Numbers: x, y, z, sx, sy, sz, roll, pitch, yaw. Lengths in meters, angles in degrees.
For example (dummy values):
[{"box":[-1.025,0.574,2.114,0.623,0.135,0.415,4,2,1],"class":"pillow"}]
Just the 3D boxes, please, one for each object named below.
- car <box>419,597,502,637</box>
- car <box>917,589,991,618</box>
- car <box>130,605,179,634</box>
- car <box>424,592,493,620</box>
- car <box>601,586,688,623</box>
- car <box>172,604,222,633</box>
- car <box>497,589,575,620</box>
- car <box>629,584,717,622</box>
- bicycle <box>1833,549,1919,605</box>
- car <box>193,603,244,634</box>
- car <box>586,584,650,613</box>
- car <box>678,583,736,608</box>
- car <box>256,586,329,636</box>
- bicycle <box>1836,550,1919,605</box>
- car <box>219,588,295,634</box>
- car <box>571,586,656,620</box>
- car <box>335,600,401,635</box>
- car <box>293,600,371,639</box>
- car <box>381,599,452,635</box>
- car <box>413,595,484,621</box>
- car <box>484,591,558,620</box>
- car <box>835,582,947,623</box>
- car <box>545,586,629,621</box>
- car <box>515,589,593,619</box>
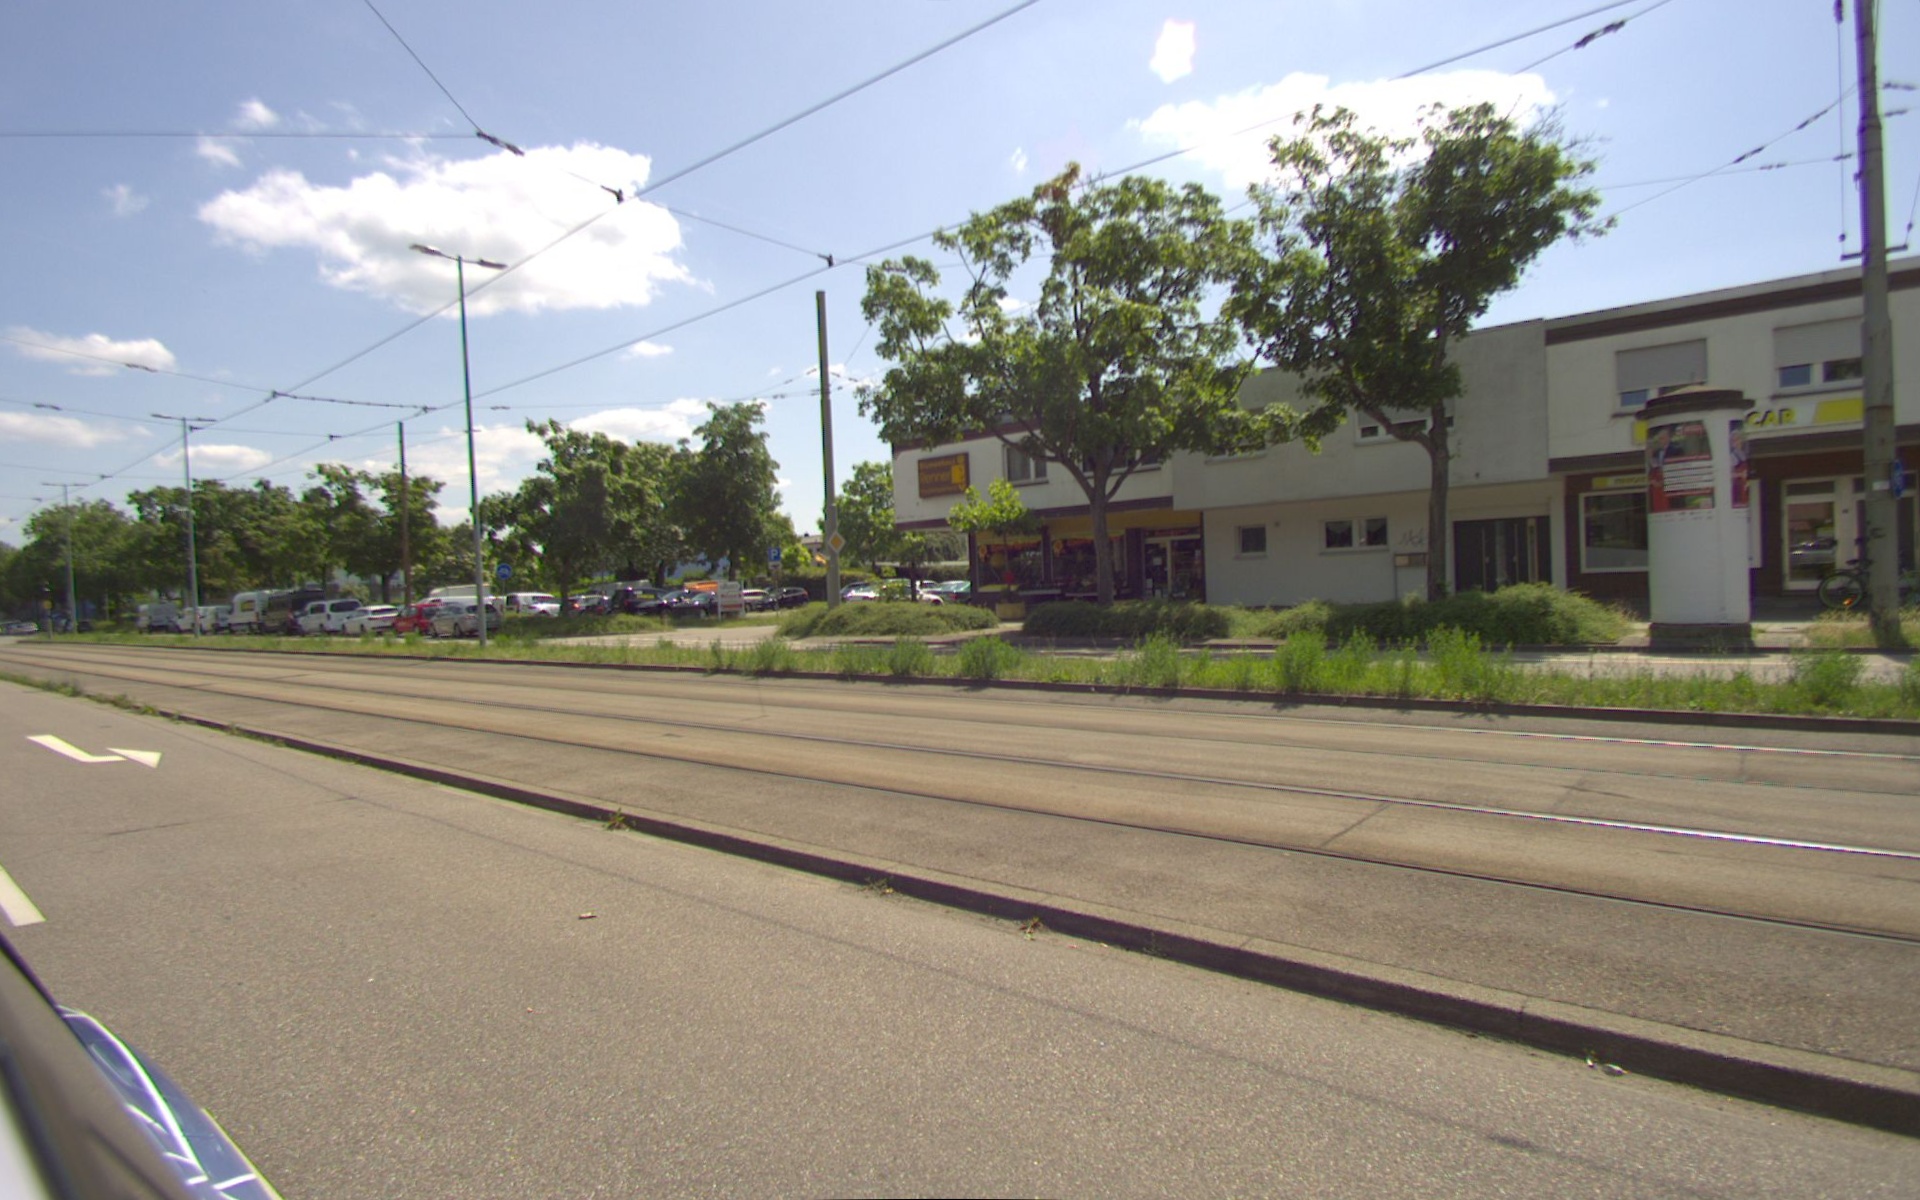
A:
[{"box":[-21.834,0.744,44.175,4.549,1.551,1.560,-1,4,42],"class":"car"},{"box":[-0.301,0.186,56.514,1.906,1.412,3.944,-1,1,43],"class":"car"},{"box":[-65.676,1.591,82.475,4.484,2.116,2.047,-1,4,39],"class":"car"},{"box":[-49.400,0.544,99.752,2.257,2.500,5.629,-2,1,38],"class":"car"},{"box":[-16.562,0.205,53.243,1.878,1.749,3.946,-1,1,41],"class":"car"},{"box":[-56.282,1.388,74.608,4.484,1.953,1.773,-1,4,39],"class":"car"},{"box":[-26.098,0.256,62.337,1.902,1.749,3.946,-1,1,41],"class":"car"},{"box":[-14.521,0.152,51.322,1.802,1.749,3.946,-1,1,41],"class":"car"},{"box":[18.063,-0.450,19.542,1.801,1.049,0.394,-2,1,43],"class":"bicycle"},{"box":[-51.345,1.236,70.077,4.646,1.953,1.772,-1,4,41],"class":"car"},{"box":[-27.191,-0.129,80.595,1.849,2.241,4.596,-1,0,38],"class":"car"},{"box":[-17.805,-0.318,71.386,1.759,1.749,3.699,-1,0,38],"class":"car"},{"box":[-38.770,0.628,58.720,5.031,2.630,2.129,-1,4,41],"class":"car"},{"box":[18.414,-0.448,19.874,1.801,1.049,0.394,-2,1,43],"class":"bicycle"},{"box":[-44.786,0.705,64.362,6.699,2.630,2.129,-1,4,40],"class":"car"},{"box":[-18.594,0.145,54.405,1.802,1.749,3.945,-1,0,41],"class":"car"},{"box":[-29.472,0.867,50.322,4.358,1.551,1.484,-1,4,42],"class":"car"},{"box":[-34.122,1.023,54.928,4.886,1.851,2.129,-1,4,41],"class":"car"},{"box":[-25.601,0.802,47.637,3.644,1.551,1.485,-1,3,38],"class":"car"},{"box":[-36.270,0.561,71.791,1.802,1.749,4.146,-1,0,41],"class":"car"},{"box":[-27.834,0.309,64.278,1.802,1.749,3.945,-1,0,41],"class":"car"},{"box":[-2.765,0.092,41.334,1.906,1.445,4.425,-2,1,43],"class":"car"},{"box":[-20.636,0.155,56.144,1.802,1.749,3.946,-1,1,41],"class":"car"},{"box":[-24.232,0.233,60.427,1.802,1.749,3.945,-1,0,41],"class":"car"}]
